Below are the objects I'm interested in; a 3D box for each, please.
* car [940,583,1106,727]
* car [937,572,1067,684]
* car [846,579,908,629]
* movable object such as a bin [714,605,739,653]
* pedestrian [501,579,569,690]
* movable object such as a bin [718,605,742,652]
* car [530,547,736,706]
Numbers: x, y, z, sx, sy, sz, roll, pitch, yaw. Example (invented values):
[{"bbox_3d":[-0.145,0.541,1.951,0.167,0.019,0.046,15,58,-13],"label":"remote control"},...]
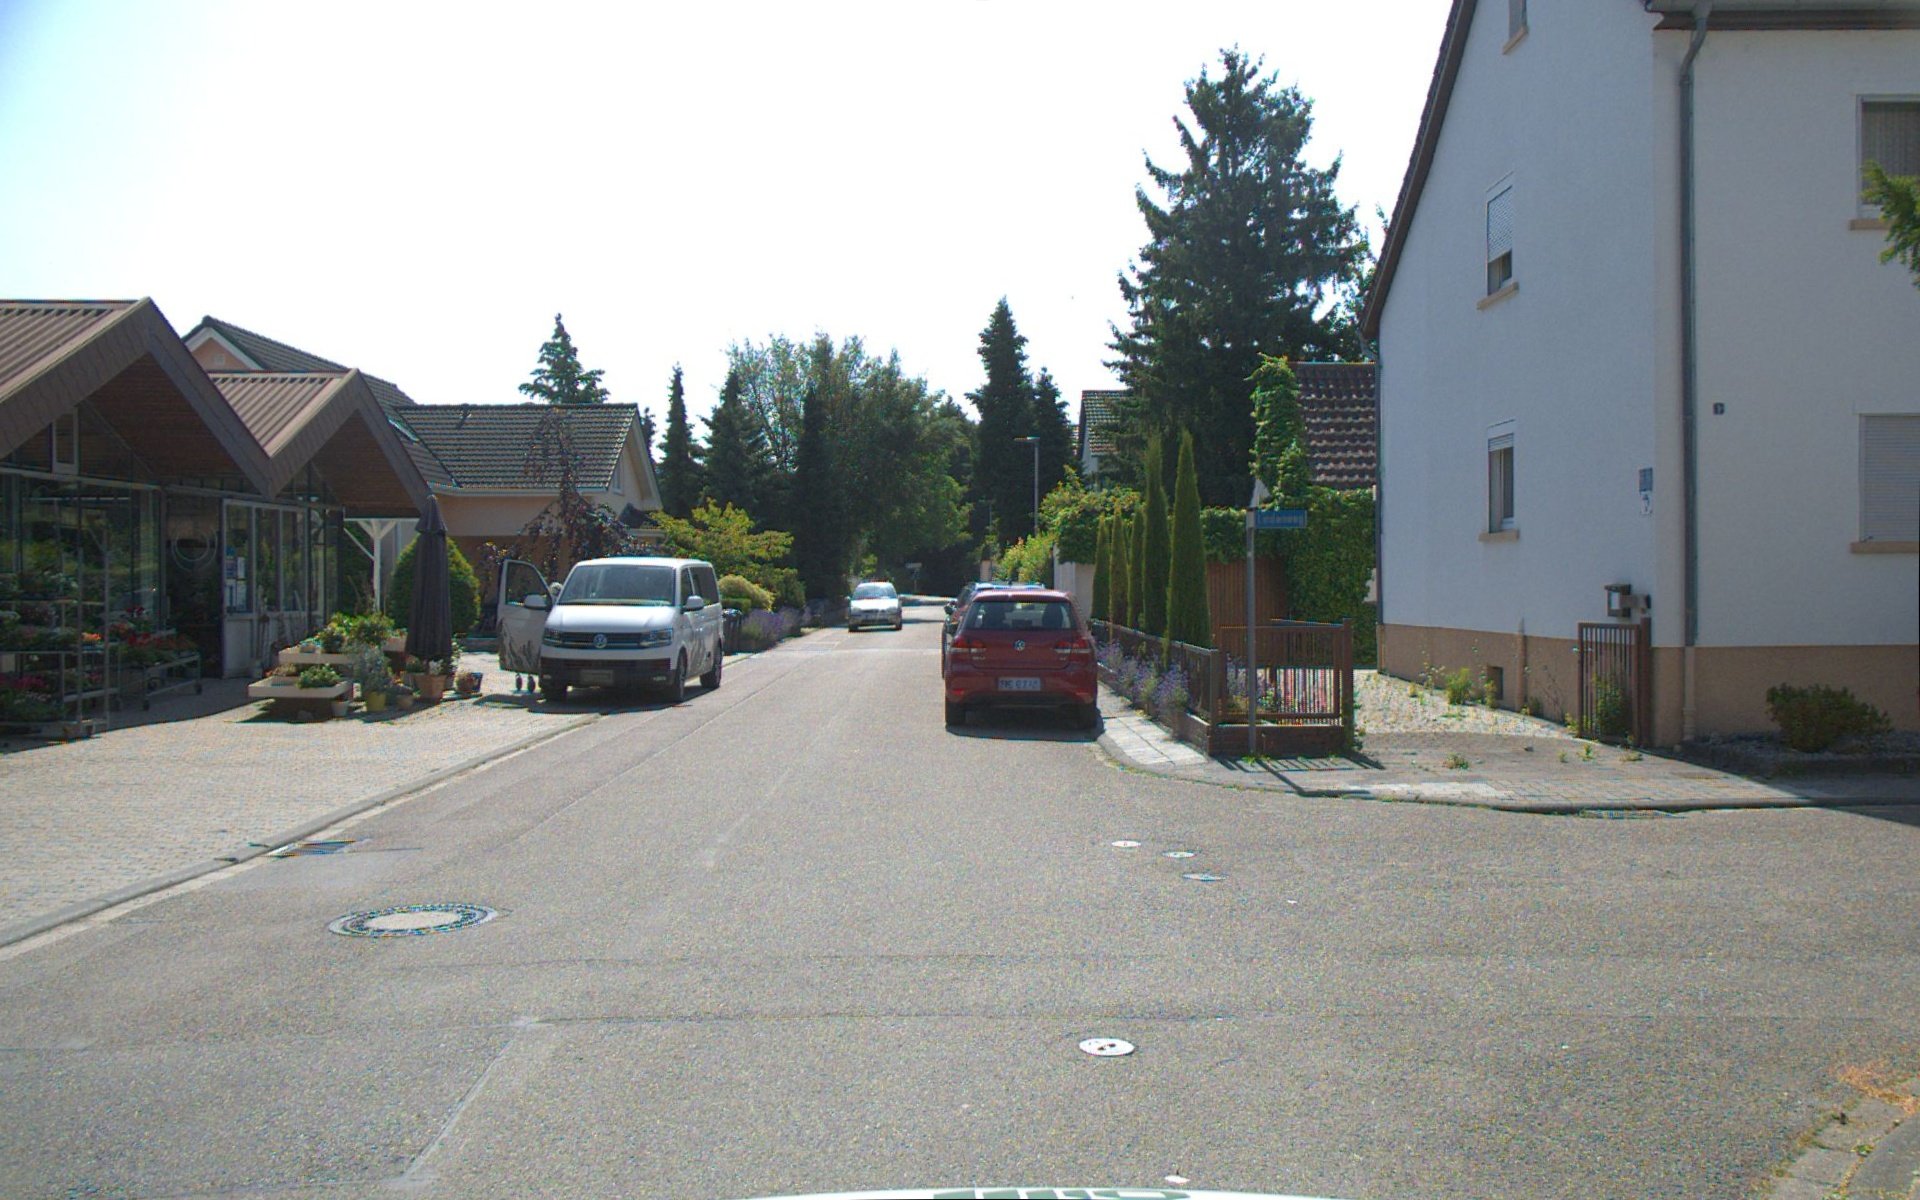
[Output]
[{"bbox_3d":[0.773,0.571,19.627,1.738,1.505,4.002,1,0,3],"label":"car"},{"bbox_3d":[0.596,0.402,26.432,1.786,1.643,3.998,0,0,-3],"label":"car"},{"bbox_3d":[-2.604,0.096,52.809,1.716,1.513,4.376,-1,0,0],"label":"car"},{"bbox_3d":[-5.222,0.643,37.061,0.484,1.042,0.447,-1,0,0],"label":"movable object such as a bin"},{"bbox_3d":[-6.096,0.481,23.714,0.704,1.565,0.640,0,1,33],"label":"pedestrian"},{"bbox_3d":[-5.216,0.649,37.524,0.484,1.042,0.447,-1,0,0],"label":"movable object such as a bin"},{"bbox_3d":[-4.573,0.320,23.910,1.889,2.049,4.897,0,0,1],"label":"car"}]
